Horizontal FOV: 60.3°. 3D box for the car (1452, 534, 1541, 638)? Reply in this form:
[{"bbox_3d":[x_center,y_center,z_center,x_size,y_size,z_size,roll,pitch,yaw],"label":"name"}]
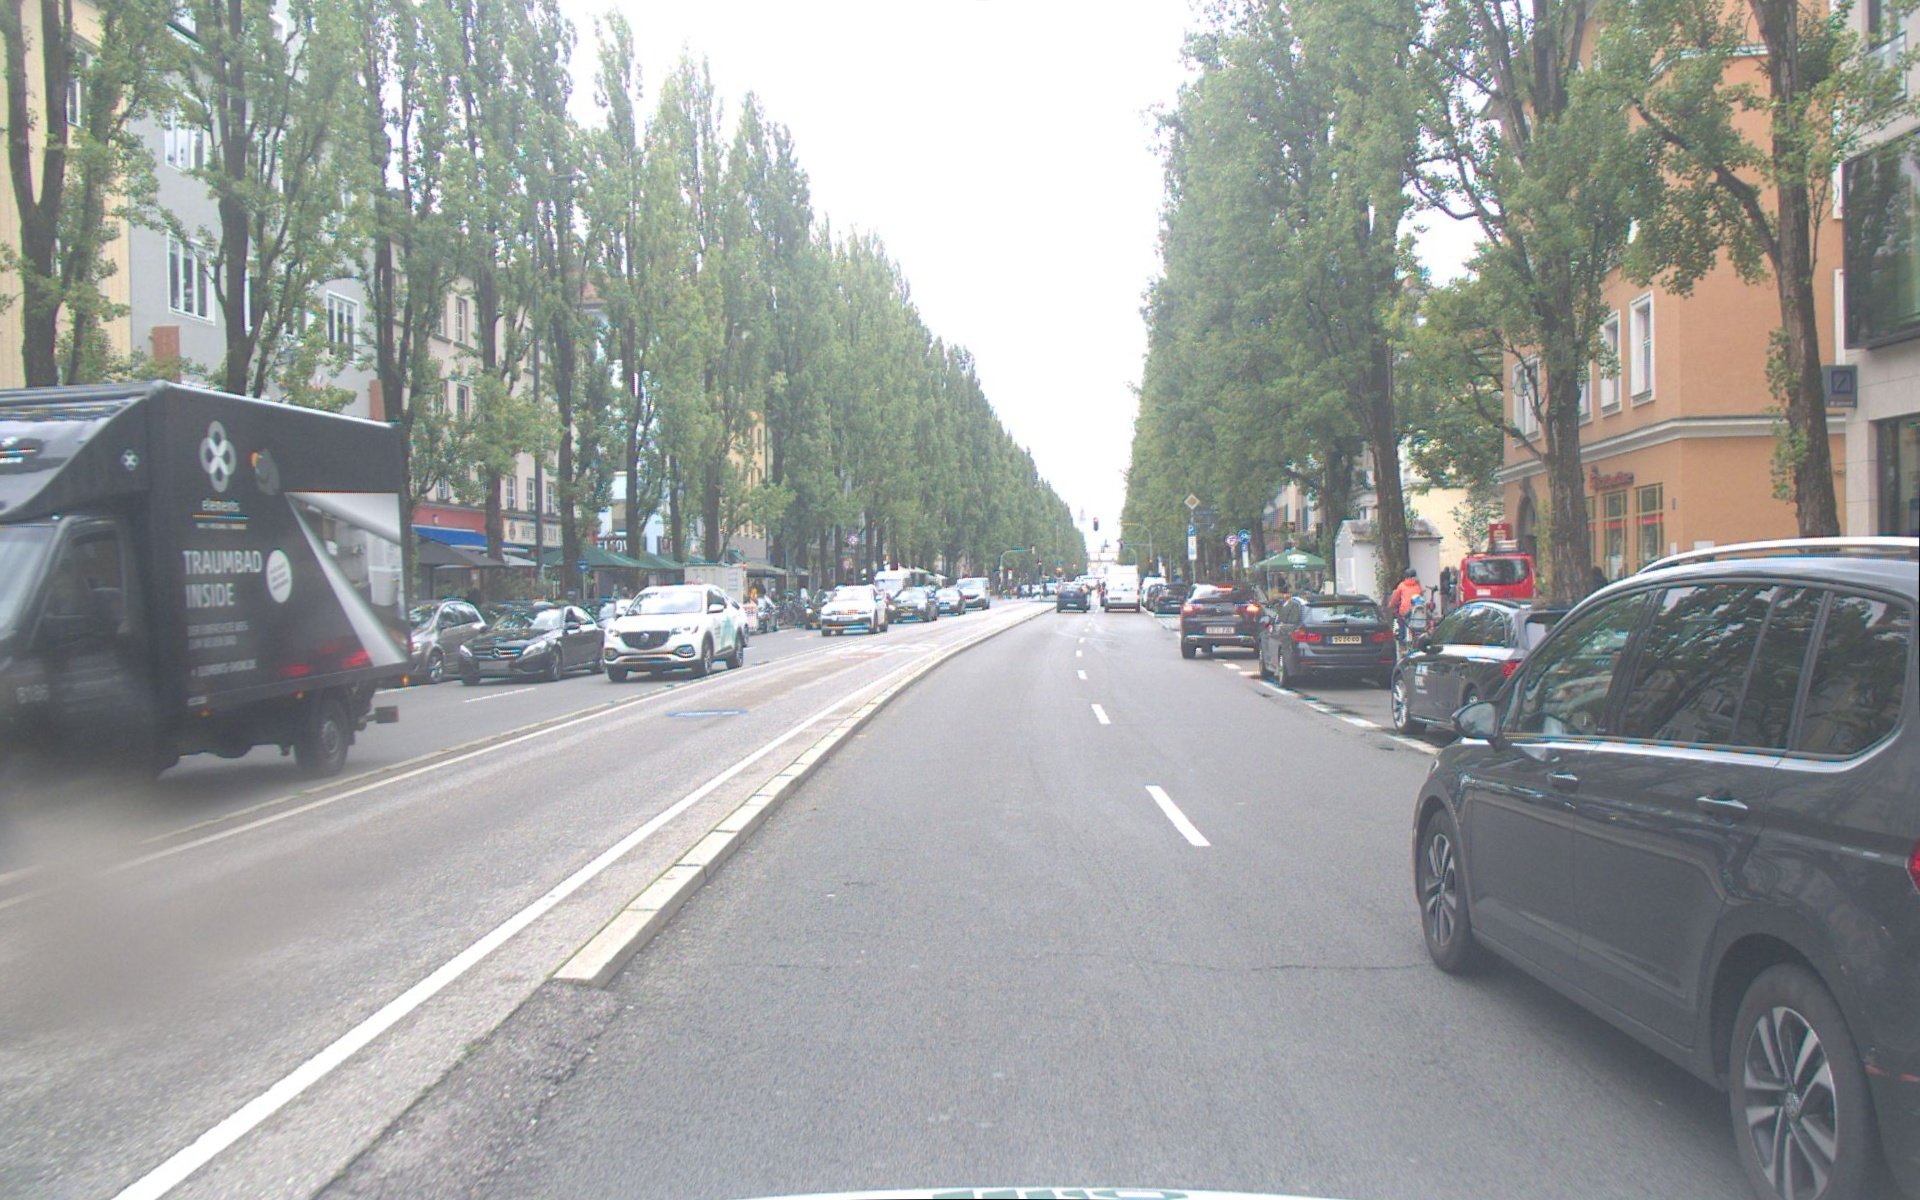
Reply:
[{"bbox_3d":[13.106,-0.363,40.613,1.861,2.368,4.828,-2,1,16],"label":"car"}]

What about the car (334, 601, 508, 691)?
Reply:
[{"bbox_3d":[-10.511,0.855,32.575,1.766,1.545,4.003,-2,1,5],"label":"car"}]

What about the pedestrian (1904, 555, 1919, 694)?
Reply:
[{"bbox_3d":[11.514,0.275,18.946,0.817,1.604,0.938,-1,0,-3],"label":"pedestrian"}]

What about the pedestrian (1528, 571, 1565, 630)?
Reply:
[{"bbox_3d":[16.576,0.002,46.781,0.803,1.641,0.780,-1,0,7],"label":"pedestrian"}]

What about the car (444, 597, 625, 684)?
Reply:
[{"bbox_3d":[-8.094,0.723,31.918,1.898,1.459,4.542,-2,1,5],"label":"car"}]

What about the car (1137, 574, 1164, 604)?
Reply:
[{"bbox_3d":[13.272,-0.752,115.484,1.766,2.027,4.002,0,0,5],"label":"car"}]

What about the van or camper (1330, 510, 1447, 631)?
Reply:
[{"bbox_3d":[11.957,-0.813,46.509,2.408,3.166,4.719,-2,0,6],"label":"van or camper"}]

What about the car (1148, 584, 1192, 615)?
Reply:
[{"bbox_3d":[10.549,-0.045,83.353,1.903,1.493,4.002,-1,1,4],"label":"car"}]

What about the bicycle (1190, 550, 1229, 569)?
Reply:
[{"bbox_3d":[14.803,-2.383,98.109,0.751,1.041,2.707,-1,1,-30],"label":"bicycle"}]

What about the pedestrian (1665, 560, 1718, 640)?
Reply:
[{"bbox_3d":[14.713,-0.001,33.269,0.596,1.578,0.710,-2,1,-23],"label":"pedestrian"}]

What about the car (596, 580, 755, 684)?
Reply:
[{"bbox_3d":[-5.226,0.531,30.984,1.821,1.741,4.539,-2,1,4],"label":"car"}]

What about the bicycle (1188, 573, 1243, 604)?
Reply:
[{"bbox_3d":[16.711,-0.746,108.192,3.473,2.049,1.298,0,0,14],"label":"bicycle"}]

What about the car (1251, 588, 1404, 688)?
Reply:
[{"bbox_3d":[5.905,0.555,27.066,1.697,1.418,4.435,-2,1,3],"label":"car"}]

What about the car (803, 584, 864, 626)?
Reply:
[{"bbox_3d":[-5.096,0.199,67.193,1.809,1.592,4.214,-2,0,5],"label":"car"}]

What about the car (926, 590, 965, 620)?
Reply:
[{"bbox_3d":[-0.713,0.224,84.381,1.675,1.438,3.725,-1,1,4],"label":"car"}]

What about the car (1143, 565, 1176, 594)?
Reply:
[{"bbox_3d":[11.816,-1.203,98.177,1.766,1.624,4.002,0,0,5],"label":"car"}]

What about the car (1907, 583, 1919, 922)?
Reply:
[{"bbox_3d":[5.153,0.685,5.070,1.773,1.526,4.806,-2,1,1],"label":"car"}]

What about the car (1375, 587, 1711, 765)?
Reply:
[{"bbox_3d":[5.464,0.625,16.136,1.809,1.453,4.426,-1,1,1],"label":"car"}]

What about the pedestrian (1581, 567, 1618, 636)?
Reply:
[{"bbox_3d":[15.713,0.032,40.656,0.714,1.654,0.805,-2,0,14],"label":"pedestrian"}]

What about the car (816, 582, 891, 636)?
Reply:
[{"bbox_3d":[-3.542,0.269,55.908,1.899,1.671,4.466,-2,1,4],"label":"car"}]

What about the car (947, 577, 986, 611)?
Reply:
[{"bbox_3d":[0.420,-0.349,101.889,1.952,1.967,4.921,-3,0,5],"label":"car"}]

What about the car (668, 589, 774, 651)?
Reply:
[{"bbox_3d":[-6.390,0.497,44.741,1.899,1.519,4.459,-2,1,4],"label":"car"}]

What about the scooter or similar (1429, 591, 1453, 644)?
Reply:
[{"bbox_3d":[11.838,0.425,40.704,0.476,1.254,1.168,-3,0,17],"label":"scooter or similar"}]

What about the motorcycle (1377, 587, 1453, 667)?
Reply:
[{"bbox_3d":[8.476,0.480,30.889,0.809,1.394,2.253,-2,0,1],"label":"motorcycle"}]

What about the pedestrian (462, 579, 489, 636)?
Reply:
[{"bbox_3d":[-16.496,0.248,56.299,0.625,1.894,0.648,-1,0,4],"label":"pedestrian"}]

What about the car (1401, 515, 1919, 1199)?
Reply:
[{"bbox_3d":[2.780,0.635,5.104,1.725,1.642,4.183,0,0,0],"label":"car"}]

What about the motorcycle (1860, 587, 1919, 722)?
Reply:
[{"bbox_3d":[9.961,0.509,16.707,1.948,1.273,0.632,-2,0,-32],"label":"motorcycle"}]

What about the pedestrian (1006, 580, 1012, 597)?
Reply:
[{"bbox_3d":[5.228,-1.214,177.594,0.541,1.746,0.493,-2,0,6],"label":"pedestrian"}]

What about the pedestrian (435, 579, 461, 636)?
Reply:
[{"bbox_3d":[-17.429,0.248,56.322,0.625,1.894,0.648,-1,0,4],"label":"pedestrian"}]

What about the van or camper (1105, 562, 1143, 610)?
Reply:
[{"bbox_3d":[9.076,-0.750,91.993,1.991,2.519,4.002,-1,-1,5],"label":"van or camper"}]

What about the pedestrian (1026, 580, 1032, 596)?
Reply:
[{"bbox_3d":[7.383,-1.298,177.033,0.541,1.746,0.493,-2,0,6],"label":"pedestrian"}]

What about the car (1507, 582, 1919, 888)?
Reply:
[{"bbox_3d":[5.289,0.644,10.605,1.891,1.475,4.803,-1,1,-1],"label":"car"}]

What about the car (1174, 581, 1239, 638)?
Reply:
[{"bbox_3d":[7.358,0.241,49.636,1.589,1.592,4.374,-1,1,4],"label":"car"}]

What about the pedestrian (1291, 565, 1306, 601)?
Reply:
[{"bbox_3d":[15.649,-0.791,76.480,0.634,1.675,0.766,0,-1,14],"label":"pedestrian"}]

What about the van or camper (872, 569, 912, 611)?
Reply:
[{"bbox_3d":[-4.229,-0.628,103.229,1.951,2.501,4.254,-1,1,5],"label":"van or camper"}]

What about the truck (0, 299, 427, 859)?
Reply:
[{"bbox_3d":[-6.719,-0.136,12.953,2.243,3.380,7.161,-2,0,4],"label":"truck"}]

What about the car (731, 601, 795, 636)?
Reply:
[{"bbox_3d":[-7.656,0.707,64.618,1.772,1.272,3.702,-1,1,4],"label":"car"}]

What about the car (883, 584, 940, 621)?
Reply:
[{"bbox_3d":[-2.069,0.069,72.499,1.951,1.457,4.775,-2,1,4],"label":"car"}]

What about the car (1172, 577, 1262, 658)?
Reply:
[{"bbox_3d":[5.838,0.333,37.148,1.840,1.670,4.587,-1,1,10],"label":"car"}]

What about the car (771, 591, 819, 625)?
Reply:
[{"bbox_3d":[-7.005,0.335,70.329,1.480,1.368,3.239,-2,1,4],"label":"car"}]

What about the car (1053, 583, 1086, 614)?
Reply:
[{"bbox_3d":[5.999,-0.053,90.321,1.722,1.648,3.749,0,0,5],"label":"car"}]

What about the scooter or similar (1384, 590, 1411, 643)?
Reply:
[{"bbox_3d":[10.877,0.394,41.111,0.514,1.254,1.478,-3,0,17],"label":"scooter or similar"}]

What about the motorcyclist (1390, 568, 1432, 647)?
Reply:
[{"bbox_3d":[8.438,0.138,30.979,0.552,1.431,0.766,-2,0,1],"label":"motorcyclist"}]
